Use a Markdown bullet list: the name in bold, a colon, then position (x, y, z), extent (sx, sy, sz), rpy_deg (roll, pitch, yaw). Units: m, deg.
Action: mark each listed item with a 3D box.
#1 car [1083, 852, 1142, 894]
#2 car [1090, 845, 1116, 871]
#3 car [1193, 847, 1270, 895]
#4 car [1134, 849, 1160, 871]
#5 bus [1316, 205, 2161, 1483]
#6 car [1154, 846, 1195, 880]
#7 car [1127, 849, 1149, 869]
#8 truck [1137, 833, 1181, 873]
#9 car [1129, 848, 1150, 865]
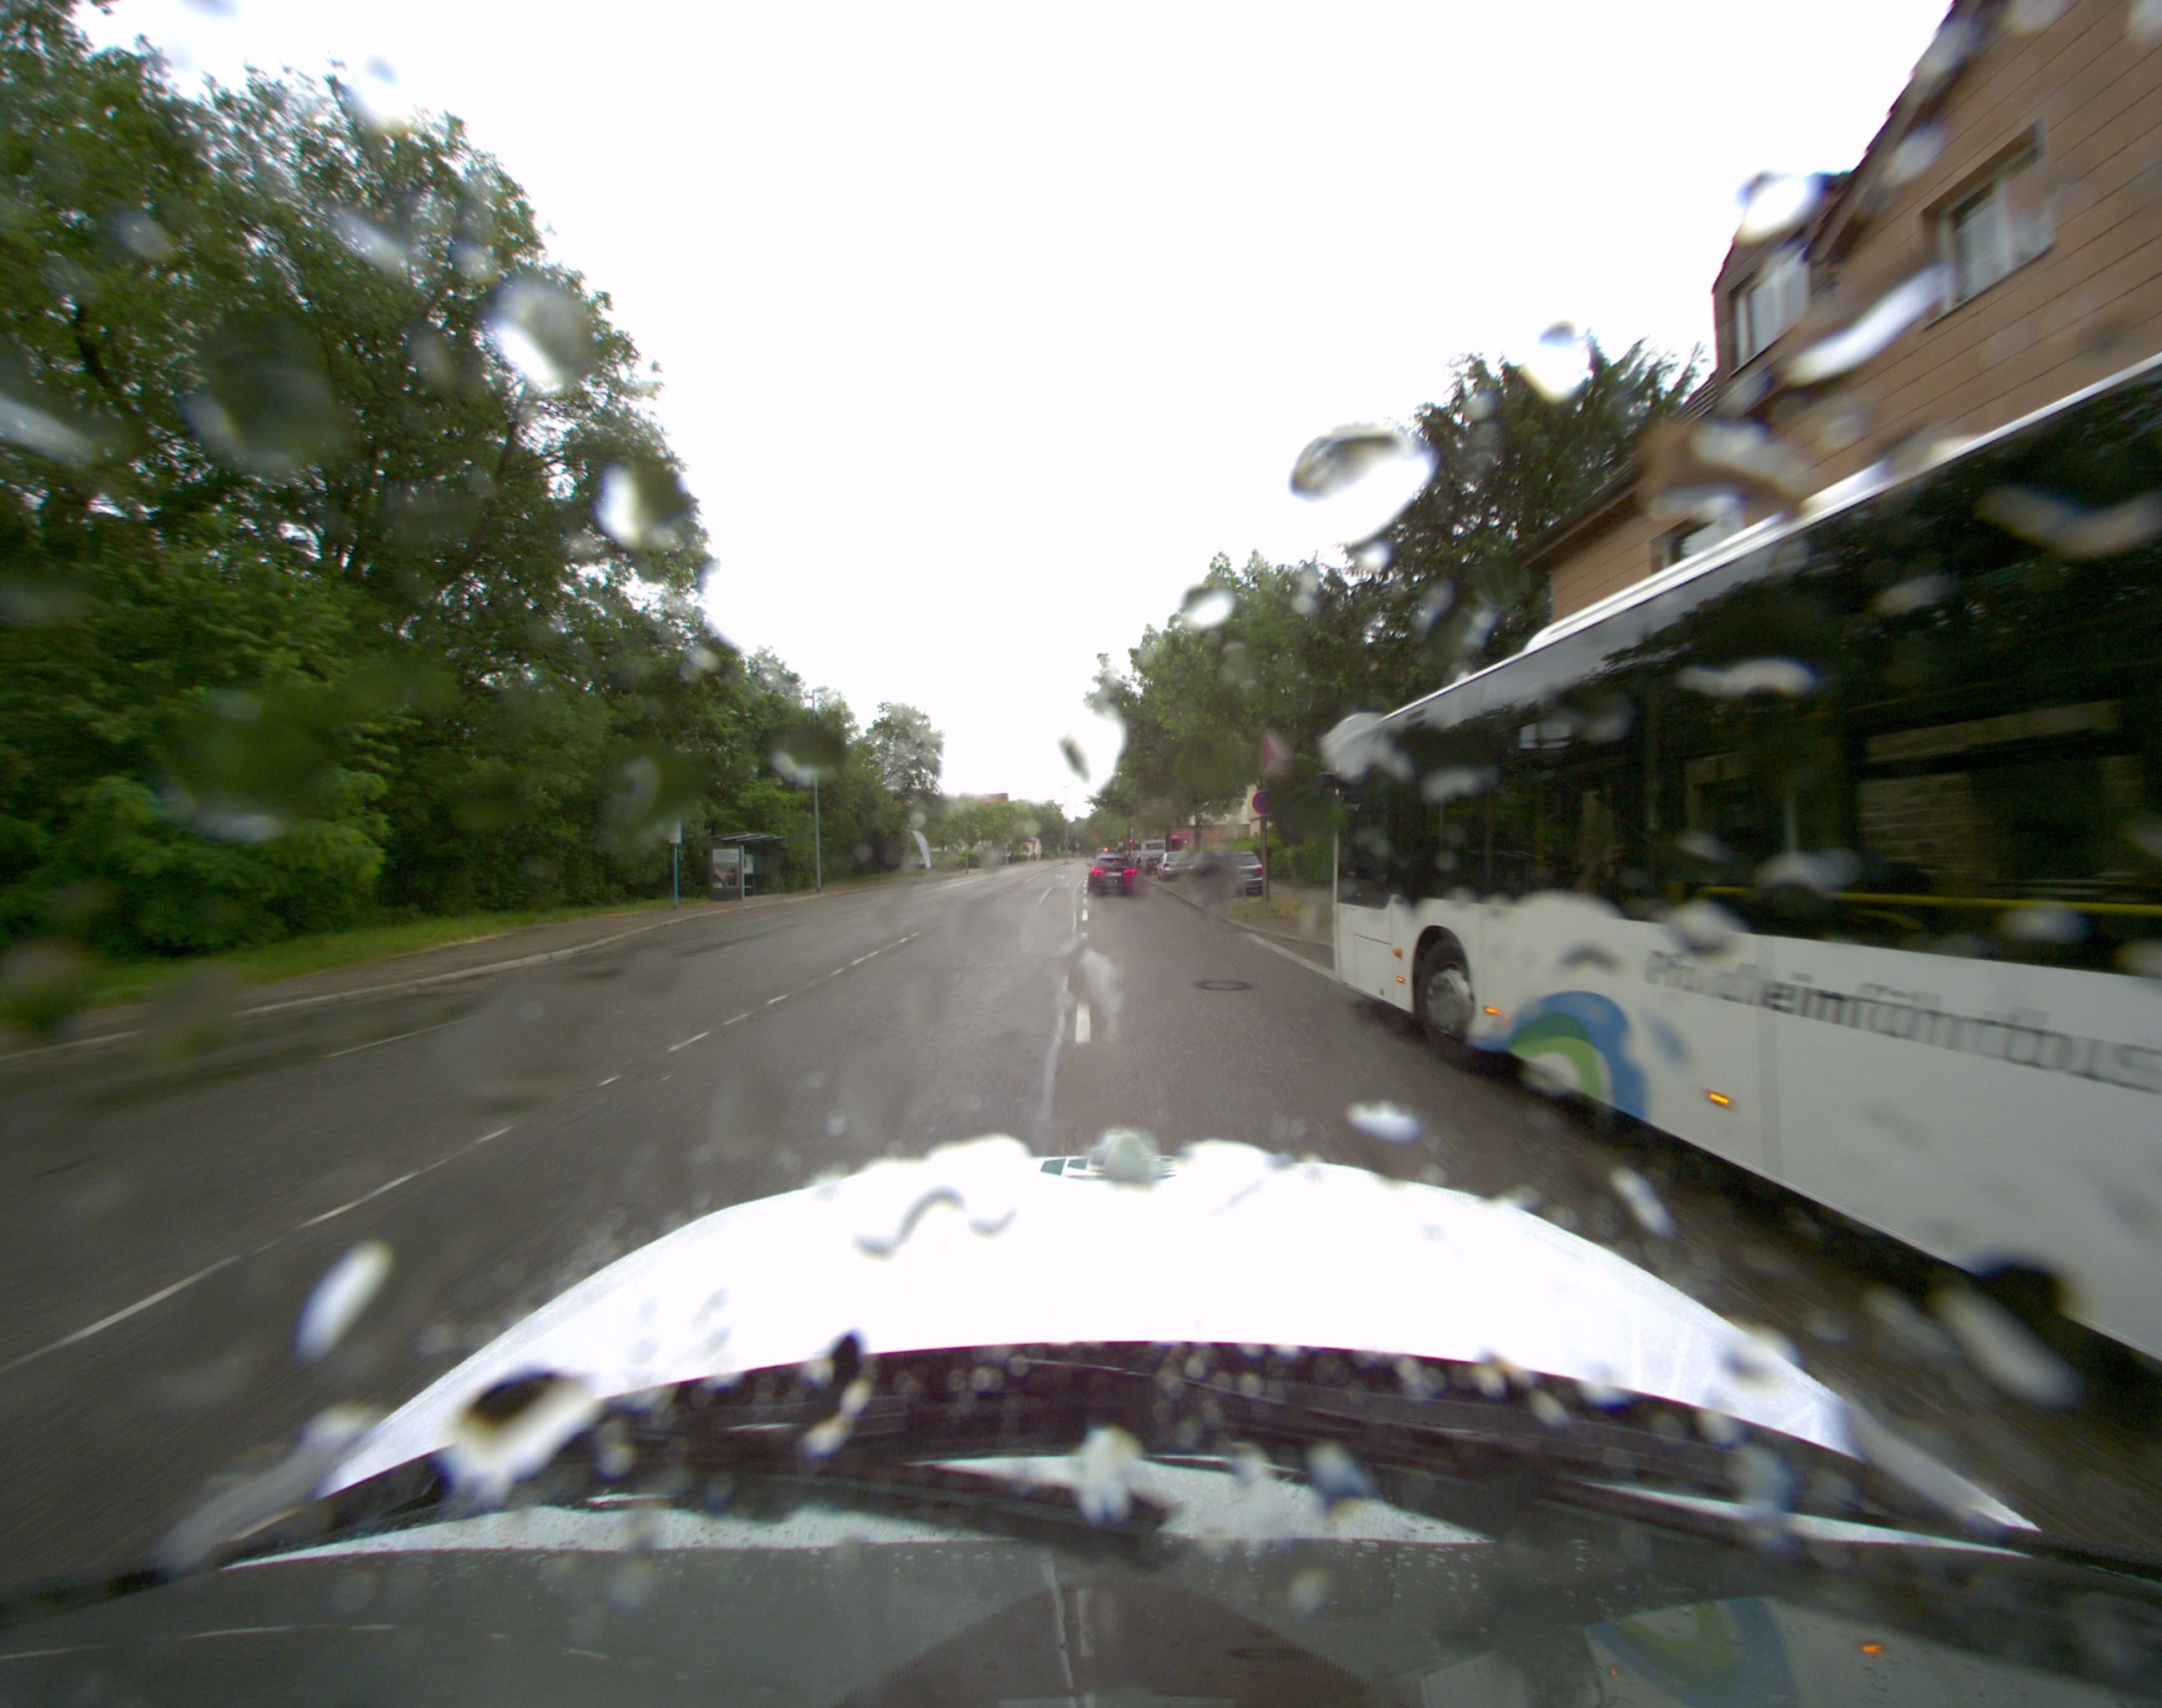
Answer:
- **car**: position (1.123, 0.668, 31.249), extent (2.058, 1.446, 4.482), rpy_deg (-1, 0, 0)
- **car**: position (1.589, 0.285, 60.626), extent (1.778, 1.817, 4.000), rpy_deg (-1, 1, 0)
- **car**: position (4.962, 0.498, 27.412), extent (1.683, 1.389, 4.499), rpy_deg (-3, 0, 0)
- **car**: position (5.069, 0.470, 63.349), extent (1.708, 1.498, 4.185), rpy_deg (-4, 0, 1)
- **bus**: position (3.774, -0.051, 3.841), extent (2.548, 2.959, 9.448), rpy_deg (-1, 0, 0)
- **car**: position (4.660, 0.410, 40.933), extent (1.595, 1.436, 4.023), rpy_deg (-5, 1, 2)
- **car**: position (4.862, 0.389, 69.450), extent (1.598, 1.472, 3.857), rpy_deg (-5, 0, 1)
- **truck**: position (4.883, -0.068, 52.033), extent (2.073, 2.221, 6.501), rpy_deg (-5, 0, 0)
- **car**: position (5.631, 0.239, 78.795), extent (1.579, 1.490, 3.627), rpy_deg (-5, 1, 0)
